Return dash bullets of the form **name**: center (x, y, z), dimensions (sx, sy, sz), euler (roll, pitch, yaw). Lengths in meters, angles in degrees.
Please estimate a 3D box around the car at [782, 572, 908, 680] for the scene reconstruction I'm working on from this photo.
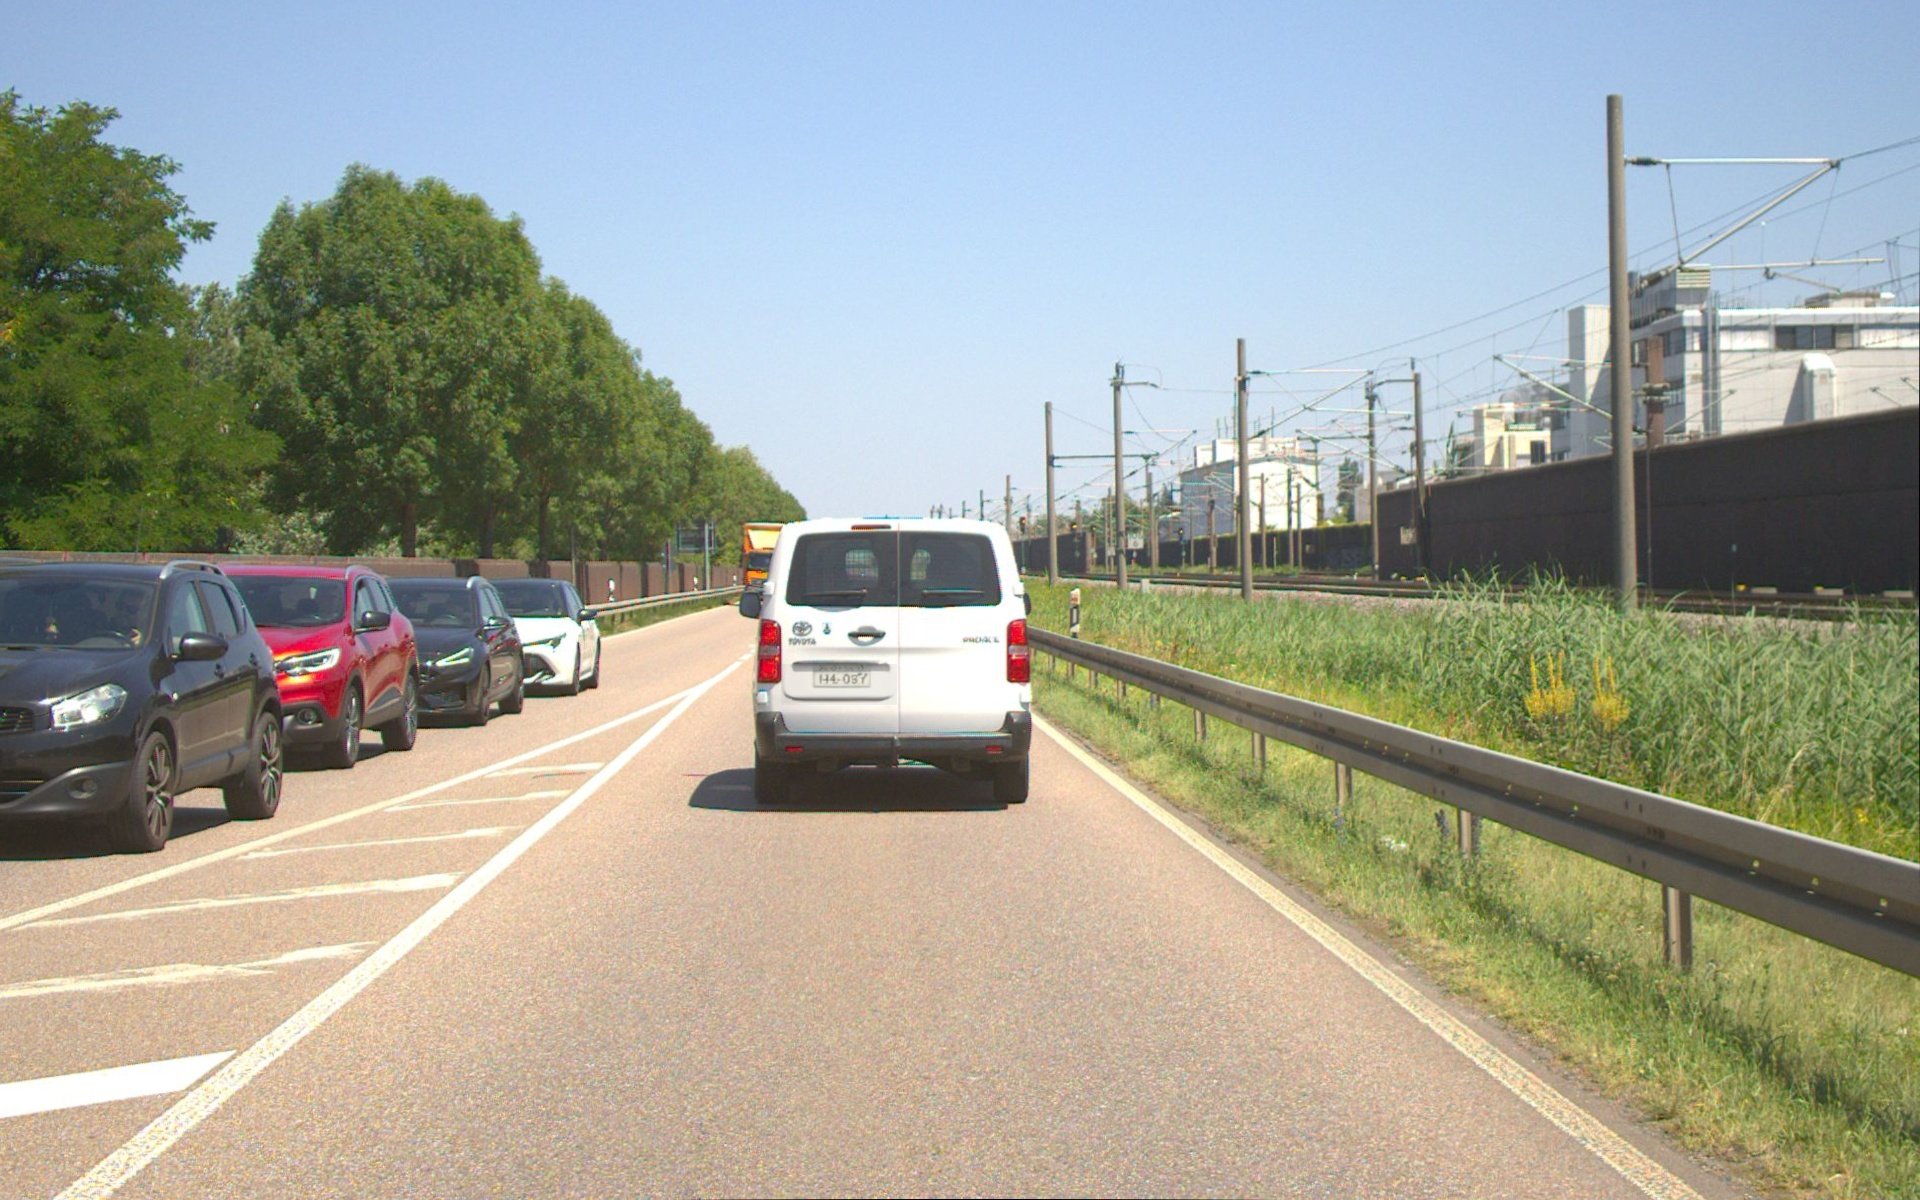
- **car**: center (-1.876, 0.384, 55.122), dimensions (1.905, 1.644, 4.142), euler (1, 0, -3)

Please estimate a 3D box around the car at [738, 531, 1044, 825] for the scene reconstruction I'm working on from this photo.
- **car**: center (-0.518, 0.497, 24.442), dimensions (1.945, 1.875, 4.881), euler (0, 0, -2)

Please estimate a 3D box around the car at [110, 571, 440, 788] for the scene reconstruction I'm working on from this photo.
- **car**: center (-5.536, 0.588, 28.288), dimensions (1.755, 1.626, 4.279), euler (0, 1, 1)

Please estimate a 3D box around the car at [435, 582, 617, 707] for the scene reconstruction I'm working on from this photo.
- **car**: center (-5.403, 0.514, 43.246), dimensions (1.685, 1.455, 4.616), euler (1, 0, 0)

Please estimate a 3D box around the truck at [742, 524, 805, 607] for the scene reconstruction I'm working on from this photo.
- **truck**: center (-8.910, -1.636, 165.219), dimensions (2.792, 3.827, 9.324), euler (0, 0, -2)

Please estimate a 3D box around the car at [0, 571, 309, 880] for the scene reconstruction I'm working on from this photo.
- **car**: center (-5.173, 0.633, 20.145), dimensions (1.716, 1.584, 4.534), euler (0, 1, 2)

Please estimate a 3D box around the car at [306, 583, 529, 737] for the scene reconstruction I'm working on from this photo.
- **car**: center (-5.527, 0.565, 35.499), dimensions (1.685, 1.455, 4.616), euler (1, 0, -2)
